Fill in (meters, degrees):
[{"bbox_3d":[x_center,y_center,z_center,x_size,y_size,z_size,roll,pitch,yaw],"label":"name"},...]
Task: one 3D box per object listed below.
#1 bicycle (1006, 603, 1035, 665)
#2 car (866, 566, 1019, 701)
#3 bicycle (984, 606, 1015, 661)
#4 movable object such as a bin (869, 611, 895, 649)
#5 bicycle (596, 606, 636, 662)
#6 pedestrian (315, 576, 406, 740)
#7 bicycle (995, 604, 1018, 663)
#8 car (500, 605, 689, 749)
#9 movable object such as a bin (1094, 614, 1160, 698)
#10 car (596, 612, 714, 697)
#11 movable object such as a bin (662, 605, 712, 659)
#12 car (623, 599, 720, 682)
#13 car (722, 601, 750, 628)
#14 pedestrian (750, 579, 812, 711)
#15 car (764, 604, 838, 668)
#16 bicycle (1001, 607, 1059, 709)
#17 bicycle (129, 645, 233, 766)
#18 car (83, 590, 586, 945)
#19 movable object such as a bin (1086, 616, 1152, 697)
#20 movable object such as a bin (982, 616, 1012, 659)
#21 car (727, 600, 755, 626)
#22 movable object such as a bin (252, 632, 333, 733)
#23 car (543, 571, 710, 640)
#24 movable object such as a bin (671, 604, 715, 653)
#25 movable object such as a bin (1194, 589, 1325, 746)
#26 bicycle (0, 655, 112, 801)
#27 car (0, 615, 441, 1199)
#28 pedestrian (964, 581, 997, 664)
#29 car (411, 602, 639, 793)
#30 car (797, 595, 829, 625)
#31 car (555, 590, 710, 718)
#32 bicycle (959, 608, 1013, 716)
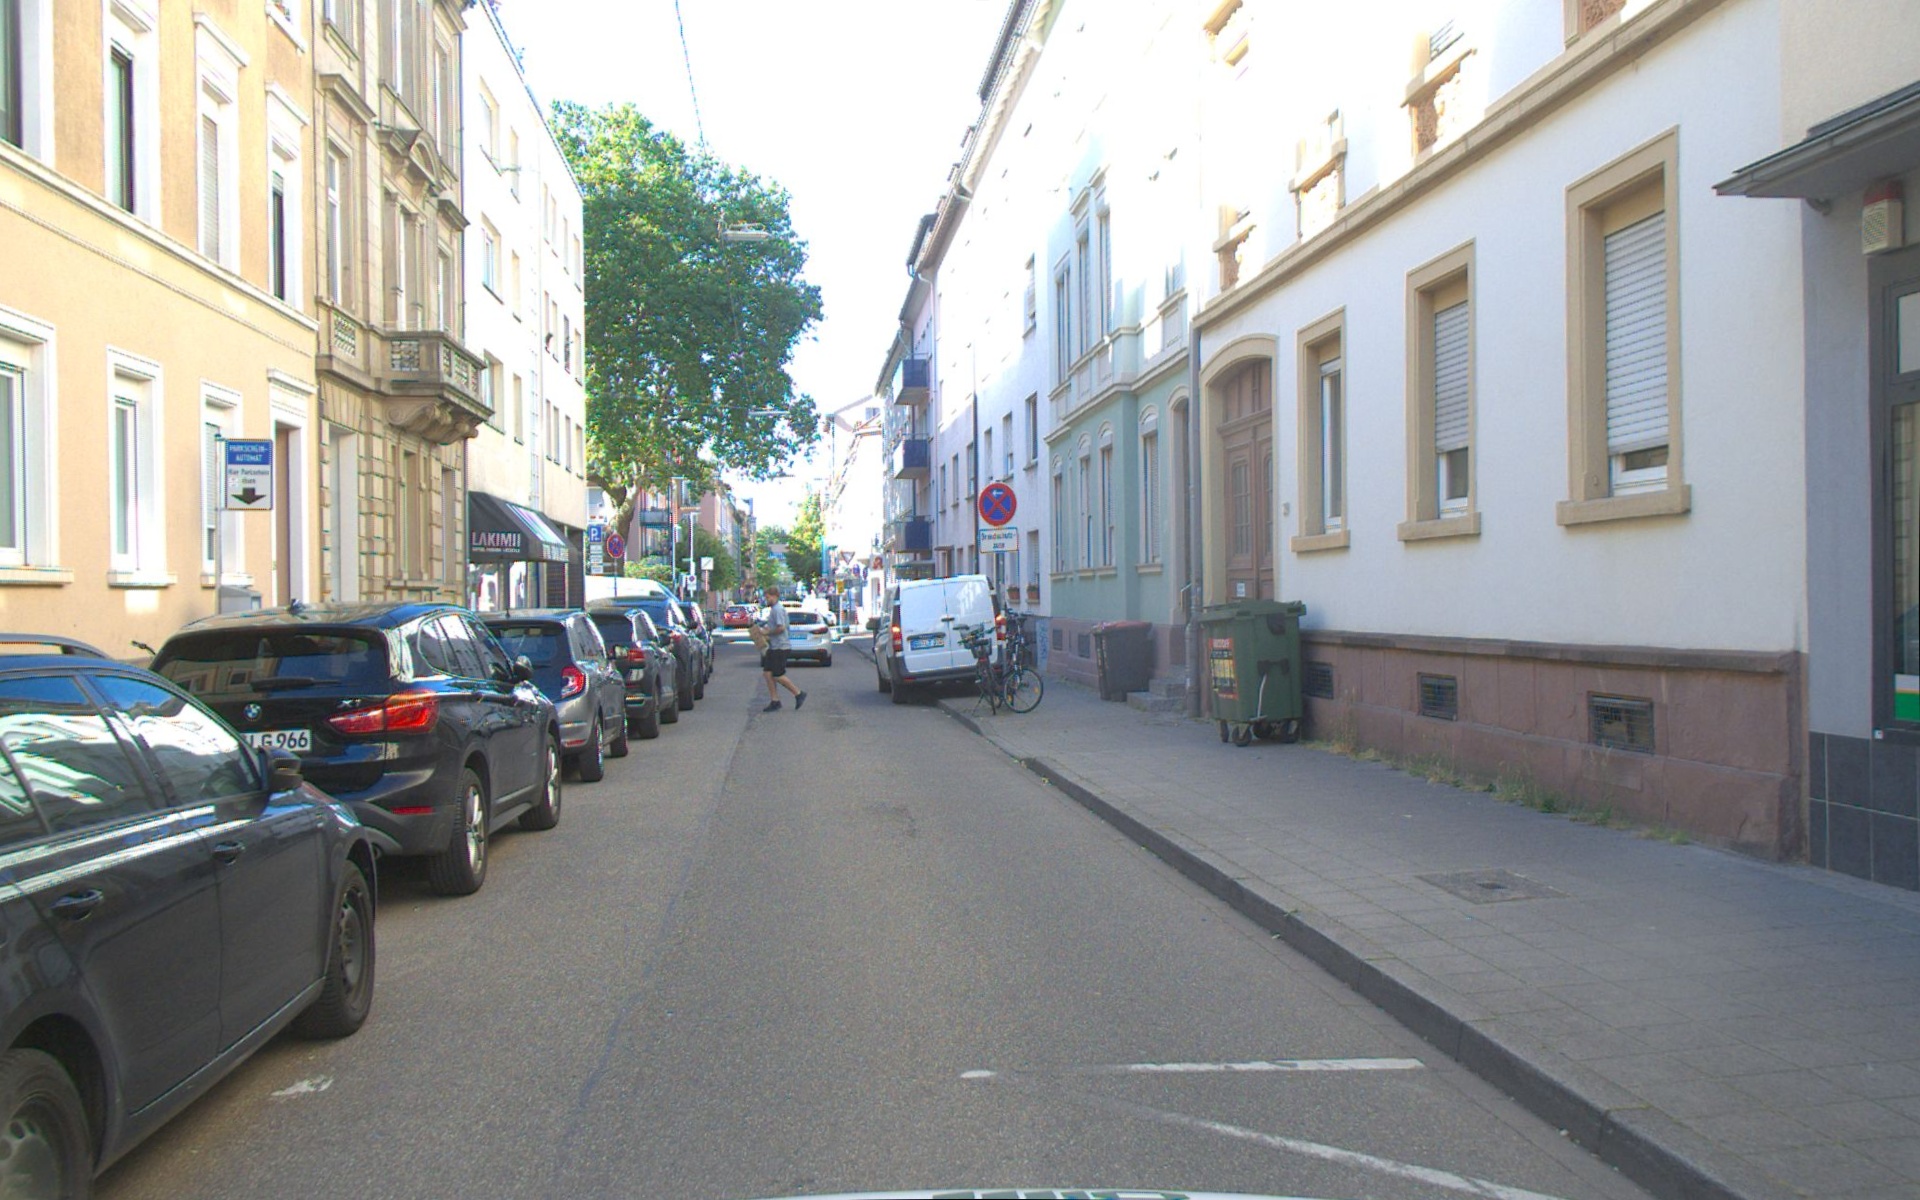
[{"bbox_3d":[1.242,0.690,34.127,0.397,1.227,2.158,-1,-1,-3],"label":"bicycle"},{"bbox_3d":[-0.417,0.502,28.203,1.946,1.916,5.592,-5,1,-6],"label":"car"},{"bbox_3d":[0.866,0.732,36.522,0.557,1.173,1.867,-1,-1,-1],"label":"bicycle"},{"bbox_3d":[-2.264,0.870,48.040,0.718,1.099,0.703,-1,-1,-5],"label":"movable object such as a bin"},{"bbox_3d":[-8.550,0.860,41.140,0.456,1.355,1.854,3,-2,2],"label":"bicycle"},{"bbox_3d":[-6.550,0.613,18.107,0.750,1.744,0.882,0,0,-7],"label":"pedestrian"},{"bbox_3d":[0.988,0.709,35.441,0.429,1.227,2.266,-1,-1,1],"label":"bicycle"},{"bbox_3d":[-4.484,0.876,20.867,1.680,1.558,4.363,-2,0,-4],"label":"car"},{"bbox_3d":[2.285,0.761,22.686,0.781,1.115,0.641,-1,-1,-4],"label":"movable object such as a bin"},{"bbox_3d":[-5.822,1.008,32.088,1.810,1.441,4.811,-3,0,-6],"label":"car"},{"bbox_3d":[-8.034,0.926,48.718,1.308,1.510,1.092,-2,-1,-6],"label":"movable object such as a bin"},{"bbox_3d":[-6.459,0.862,37.427,1.748,1.696,4.664,-2,0,-6],"label":"car"},{"bbox_3d":[-14.411,0.911,106.533,1.736,1.616,3.721,-1,1,-7],"label":"car"},{"bbox_3d":[-2.609,0.649,24.105,0.849,1.869,0.882,-1,-1,-7],"label":"pedestrian"},{"bbox_3d":[-4.145,0.895,42.699,1.789,1.540,3.818,-1,0,-7],"label":"car"},{"bbox_3d":[0.935,0.761,22.684,0.563,1.293,2.198,-3,0,-2],"label":"bicycle"},{"bbox_3d":[-7.552,0.995,16.092,0.394,1.074,1.833,-1,-1,-9],"label":"bicycle"},{"bbox_3d":[-3.554,0.791,10.357,1.710,1.643,4.598,-2,1,-5],"label":"car"},{"bbox_3d":[2.239,0.796,23.355,0.796,1.107,0.673,-1,-1,-4],"label":"movable object such as a bin"},{"bbox_3d":[0.837,0.848,37.792,0.566,0.940,0.607,-3,0,-6],"label":"movable object such as a bin"},{"bbox_3d":[-14.803,0.883,112.115,1.687,1.712,3.721,-1,0,-5],"label":"car"},{"bbox_3d":[-7.827,0.957,19.407,0.722,1.108,0.681,-1,1,-10],"label":"movable object such as a bin"},{"bbox_3d":[-13.975,0.248,69.649,6.607,2.599,2.143,2,-1,-5],"label":"car"},{"bbox_3d":[-8.366,0.896,51.846,1.309,1.517,1.080,0,-1,-6],"label":"movable object such as a bin"},{"bbox_3d":[2.894,0.650,16.128,0.821,1.414,1.295,-3,-2,-7],"label":"movable object such as a bin"},{"bbox_3d":[-7.268,0.972,12.758,0.353,1.046,1.918,-1,-1,3],"label":"bicycle"},{"bbox_3d":[-2.818,0.864,4.550,1.681,1.514,4.845,-4,0,-7],"label":"car"},{"bbox_3d":[0.450,0.489,35.362,0.641,1.741,0.686,-1,-1,3],"label":"pedestrian"},{"bbox_3d":[-4.098,0.829,16.120,1.585,1.581,3.972,-1,0,-7],"label":"car"},{"bbox_3d":[-9.801,0.668,110.280,1.906,1.982,4.070,0,0,-8],"label":"car"},{"bbox_3d":[-5.089,0.781,26.346,1.899,1.766,5.135,-2,0,-6],"label":"car"},{"bbox_3d":[0.330,0.799,22.293,0.563,1.344,2.198,-2,0,-2],"label":"bicycle"}]
